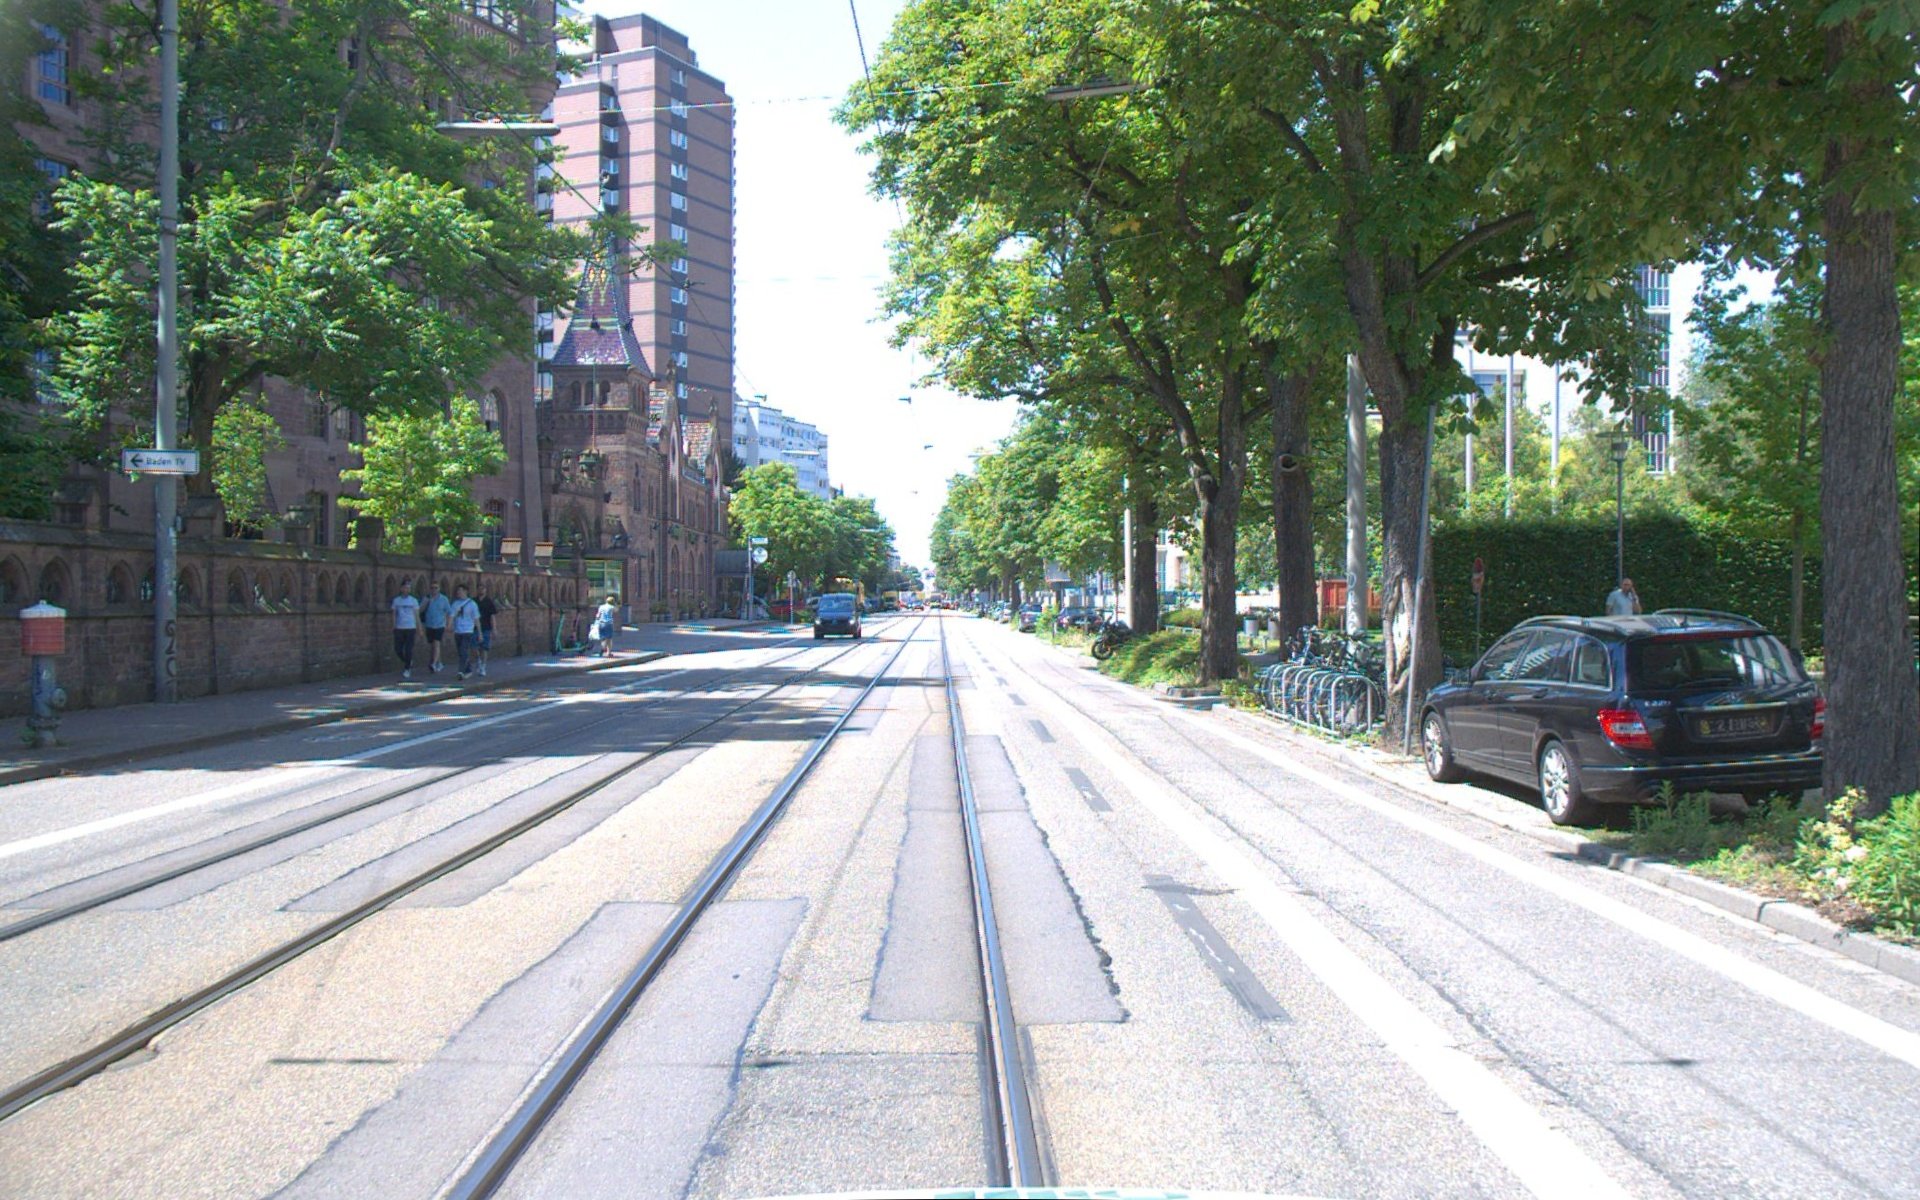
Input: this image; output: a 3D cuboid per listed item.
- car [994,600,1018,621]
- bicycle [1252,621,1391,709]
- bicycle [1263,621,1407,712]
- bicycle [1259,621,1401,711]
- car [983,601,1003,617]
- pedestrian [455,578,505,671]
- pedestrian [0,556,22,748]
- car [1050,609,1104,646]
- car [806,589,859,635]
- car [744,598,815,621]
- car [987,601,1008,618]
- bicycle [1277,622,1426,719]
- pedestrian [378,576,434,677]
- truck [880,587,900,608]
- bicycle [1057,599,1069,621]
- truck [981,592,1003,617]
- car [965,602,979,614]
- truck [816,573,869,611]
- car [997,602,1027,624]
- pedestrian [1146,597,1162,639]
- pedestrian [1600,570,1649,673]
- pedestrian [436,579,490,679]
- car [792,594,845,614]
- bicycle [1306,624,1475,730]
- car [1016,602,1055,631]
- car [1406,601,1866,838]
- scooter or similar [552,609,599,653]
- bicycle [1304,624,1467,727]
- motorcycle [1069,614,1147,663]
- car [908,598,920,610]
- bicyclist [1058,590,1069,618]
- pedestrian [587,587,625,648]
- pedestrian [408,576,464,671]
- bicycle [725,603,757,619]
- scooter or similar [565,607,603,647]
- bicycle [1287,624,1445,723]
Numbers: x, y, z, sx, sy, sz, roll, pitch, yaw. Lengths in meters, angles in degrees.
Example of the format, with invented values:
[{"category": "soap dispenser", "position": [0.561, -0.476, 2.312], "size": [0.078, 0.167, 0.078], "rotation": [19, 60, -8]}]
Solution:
[{"category": "car", "position": [3.538, 0.776, 127.358], "size": [1.637, 1.544, 4.200], "rotation": [0, 0, -2]}, {"category": "bicycle", "position": [4.876, 0.866, 22.341], "size": [1.772, 1.130, 0.449], "rotation": [-1, 0, -4]}, {"category": "bicycle", "position": [4.872, 0.861, 21.510], "size": [1.772, 1.130, 0.395], "rotation": [-1, 0, -4]}, {"category": "bicycle", "position": [4.894, 0.867, 21.911], "size": [1.772, 1.130, 0.395], "rotation": [-1, 0, -4]}, {"category": "car", "position": [3.151, 0.870, 158.044], "size": [1.786, 1.497, 4.401], "rotation": [0, 0, 2]}, {"category": "pedestrian", "position": [-9.441, 0.479, 32.552], "size": [0.663, 1.779, 0.919], "rotation": [3, 0, -1]}, {"category": "pedestrian", "position": [-9.434, 0.480, 15.483], "size": [0.707, 1.823, 0.919], "rotation": [3, 0, -1]}, {"category": "car", "position": [4.338, 0.989, 61.659], "size": [1.715, 1.293, 3.833], "rotation": [1, 0, -1]}, {"category": "car", "position": [-5.202, 0.483, 67.883], "size": [1.866, 1.819, 4.254], "rotation": [-1, 0, -1]}, {"category": "car", "position": [-13.050, 0.683, 119.476], "size": [4.713, 1.594, 1.982], "rotation": [0, 0, -29]}, {"category": "car", "position": [3.293, 0.848, 147.052], "size": [1.787, 1.497, 4.486], "rotation": [0, 0, 1]}, {"category": "bicycle", "position": [4.887, 0.867, 20.638], "size": [1.777, 1.130, 0.488], "rotation": [-1, 0, -15]}, {"category": "pedestrian", "position": [-10.255, 0.479, 30.624], "size": [0.663, 1.807, 0.919], "rotation": [2, 0, -1]}, {"category": "truck", "position": [-9.933, -0.294, 236.084], "size": [2.312, 2.902, 7.378], "rotation": [-1, 0, 1]}, {"category": "bicycle", "position": [6.245, 0.577, 100.253], "size": [0.543, 1.287, 1.773], "rotation": [-3, 0, -1]}, {"category": "truck", "position": [3.206, 0.433, 168.571], "size": [1.973, 2.532, 5.954], "rotation": [0, 0, -1]}, {"category": "car", "position": [1.618, 1.070, 222.037], "size": [1.606, 1.511, 3.870], "rotation": [-1, -1, -4]}, {"category": "truck", "position": [-12.807, -0.801, 181.475], "size": [2.657, 3.909, 10.972], "rotation": [1, -1, 13]}, {"category": "car", "position": [3.600, 0.877, 114.474], "size": [1.638, 1.525, 4.362], "rotation": [0, 0, -4]}, {"category": "pedestrian", "position": [7.476, 0.689, 63.702], "size": [0.502, 1.601, 0.544], "rotation": [-2, 0, -1]}, {"category": "pedestrian", "position": [11.679, 0.368, 29.085], "size": [0.612, 1.779, 0.657], "rotation": [-1, -1, 8]}, {"category": "pedestrian", "position": [-9.268, 0.529, 30.883], "size": [0.663, 1.821, 0.919], "rotation": [2, 0, -1]}, {"category": "car", "position": [-13.045, 0.364, 152.225], "size": [4.492, 1.822, 1.879], "rotation": [1, 0, -33]}, {"category": "bicycle", "position": [4.859, 0.866, 18.708], "size": [1.772, 1.130, 0.514], "rotation": [-1, 0, -4]}, {"category": "car", "position": [3.817, 0.811, 84.139], "size": [1.637, 1.433, 4.747], "rotation": [0, 0, -1]}, {"category": "car", "position": [5.047, 0.783, 13.129], "size": [1.642, 1.493, 4.633], "rotation": [-1, 0, -1]}, {"category": "scooter or similar", "position": [-10.218, 0.822, 43.976], "size": [0.343, 1.146, 1.217], "rotation": [1, -2, 42]}, {"category": "bicycle", "position": [4.978, 0.874, 19.363], "size": [1.775, 1.130, 0.534], "rotation": [-1, 0, -10]}, {"category": "motorcycle", "position": [3.815, 0.992, 42.831], "size": [2.022, 1.234, 0.610], "rotation": [-1, -2, 39]}, {"category": "car", "position": [-7.095, 0.622, 257.468], "size": [1.793, 1.710, 4.184], "rotation": [-1, 0, -1]}, {"category": "bicyclist", "position": [6.245, 0.216, 100.241], "size": [0.569, 1.677, 0.599], "rotation": [-2, 0, -1]}, {"category": "pedestrian", "position": [-9.542, 0.465, 44.588], "size": [0.783, 1.616, 0.919], "rotation": [3, 0, -1]}, {"category": "pedestrian", "position": [-10.297, 0.449, 32.502], "size": [0.737, 1.807, 0.919], "rotation": [3, 0, -1]}, {"category": "bicycle", "position": [-14.701, 0.746, 110.953], "size": [1.964, 0.906, 0.595], "rotation": [5, -1, -18]}, {"category": "scooter or similar", "position": [-10.782, 0.774, 47.421], "size": [0.322, 1.146, 1.221], "rotation": [1, 0, 27]}, {"category": "bicycle", "position": [4.900, 0.877, 19.981], "size": [1.775, 1.130, 0.532], "rotation": [-1, 0, -10]}]
